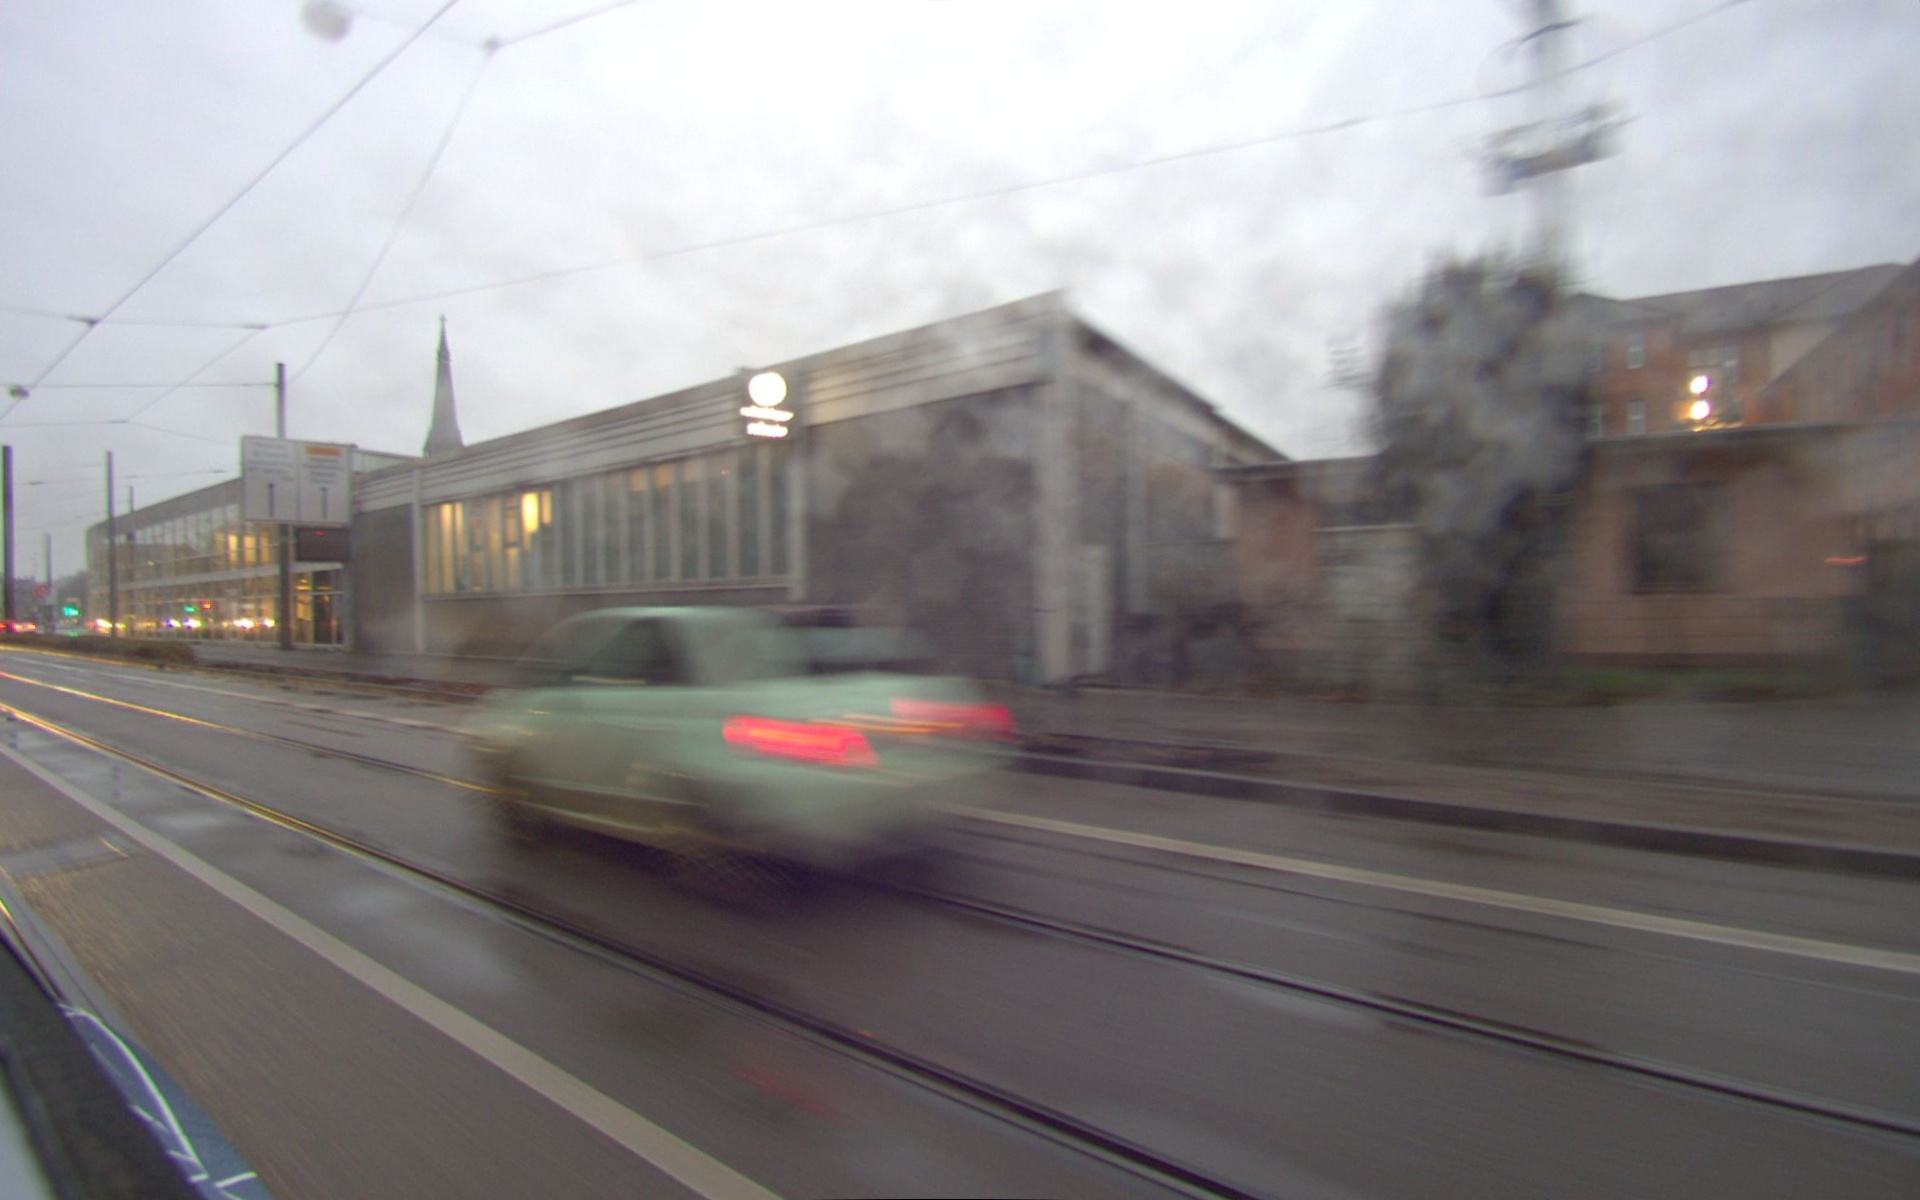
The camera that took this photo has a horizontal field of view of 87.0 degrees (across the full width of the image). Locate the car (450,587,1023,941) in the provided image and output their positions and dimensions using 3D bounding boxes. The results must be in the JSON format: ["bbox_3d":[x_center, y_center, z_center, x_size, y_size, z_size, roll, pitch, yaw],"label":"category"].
[{"bbox_3d":[-1.503,0.720,6.024,3.559,1.493,1.514,-1,-1,41],"label":"car"}]
